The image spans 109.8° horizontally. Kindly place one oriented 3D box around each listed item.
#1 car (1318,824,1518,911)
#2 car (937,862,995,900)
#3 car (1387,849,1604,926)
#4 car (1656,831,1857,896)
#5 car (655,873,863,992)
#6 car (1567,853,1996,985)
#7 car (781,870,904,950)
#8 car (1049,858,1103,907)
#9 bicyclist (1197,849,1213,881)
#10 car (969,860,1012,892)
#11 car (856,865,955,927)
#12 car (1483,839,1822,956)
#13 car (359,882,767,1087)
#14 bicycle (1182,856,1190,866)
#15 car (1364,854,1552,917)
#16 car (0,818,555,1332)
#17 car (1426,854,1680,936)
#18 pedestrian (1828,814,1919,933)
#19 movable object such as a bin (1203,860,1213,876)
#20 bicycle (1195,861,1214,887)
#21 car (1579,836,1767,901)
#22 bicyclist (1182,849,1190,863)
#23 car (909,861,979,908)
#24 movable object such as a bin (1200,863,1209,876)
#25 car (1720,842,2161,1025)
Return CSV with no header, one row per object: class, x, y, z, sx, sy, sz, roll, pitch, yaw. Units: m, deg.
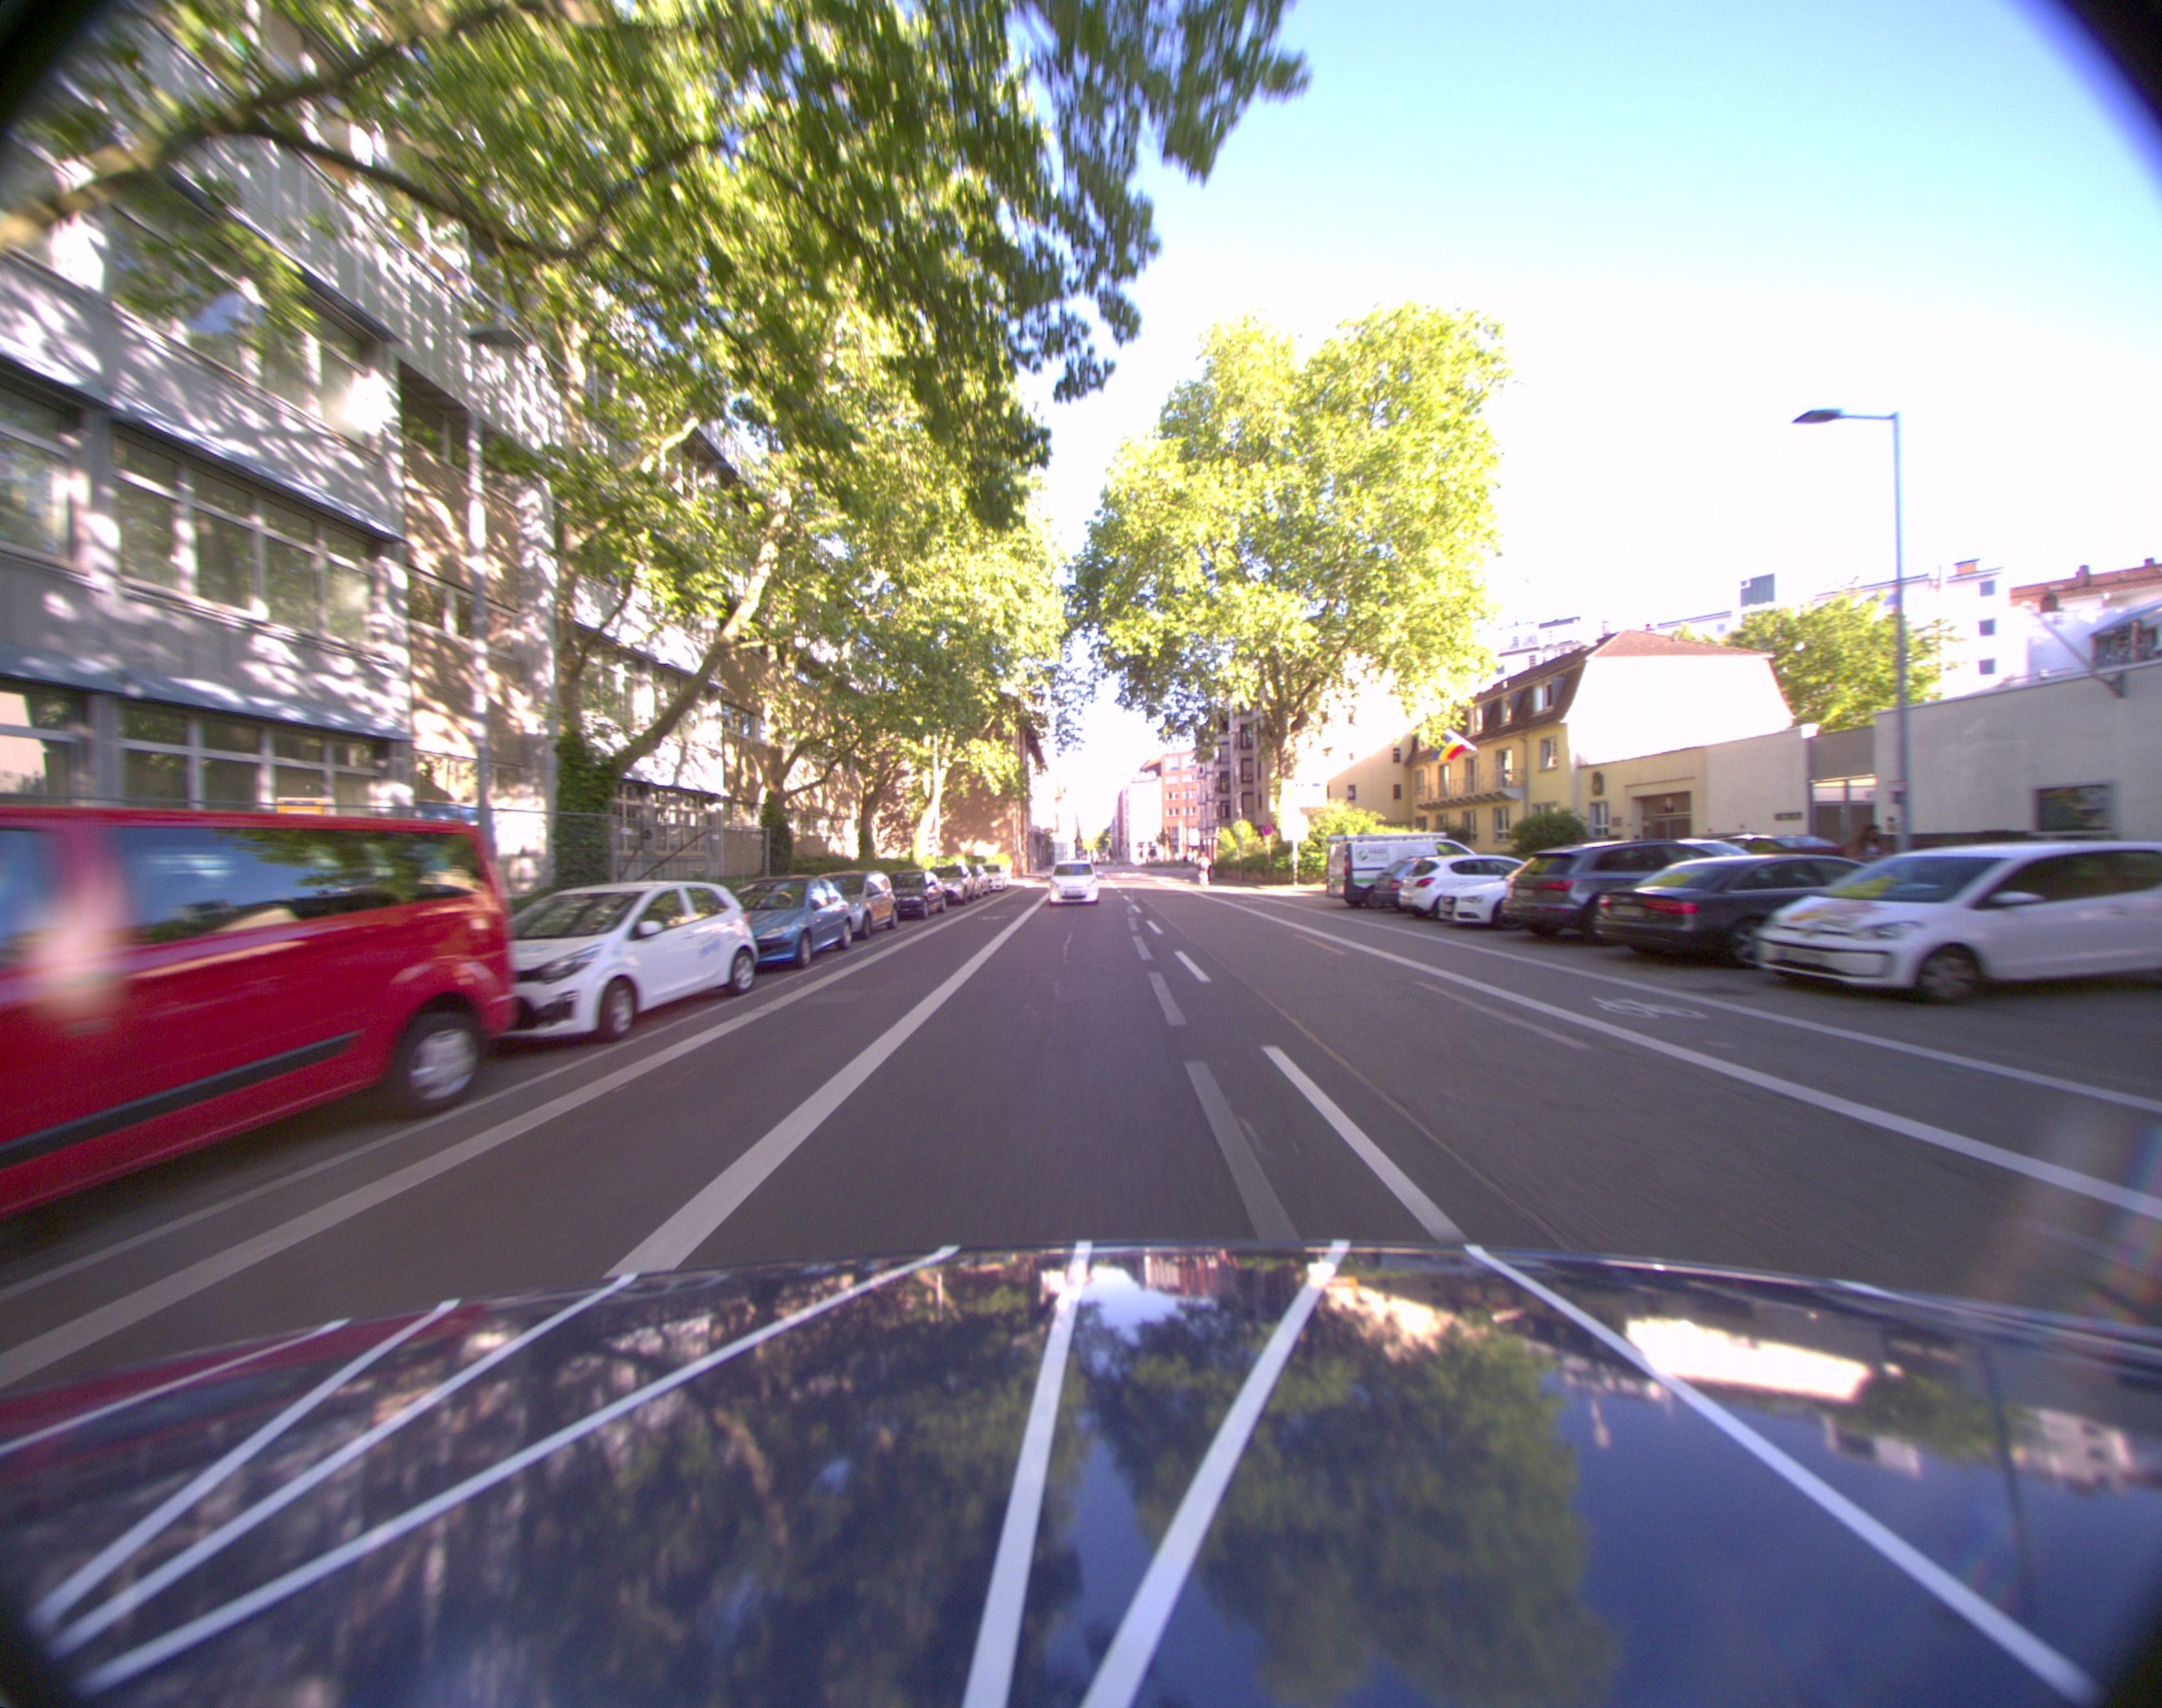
car,9.756,0.374,22.329,4.856,2.204,2.140,-3,1,0
car,-5.031,1.161,33.797,1.860,1.428,4.602,-2,0,0
car,9.543,0.745,17.737,3.997,1.550,1.853,-2,0,0
car,17.851,0.229,20.375,1.794,1.455,4.000,-3,0,0
car,-5.171,1.169,12.841,1.860,1.502,3.928,-4,0,-2
car,9.185,0.797,10.258,3.997,1.447,1.916,-2,0,0
car,-5.276,1.175,17.243,1.617,1.466,3.492,-3,0,0
car,-0.179,0.933,26.258,1.683,1.490,3.684,-1,1,-1
bicyclist,6.073,0.519,37.208,0.608,1.536,0.934,1,0,0
car,-4.706,1.109,40.007,1.860,1.428,4.968,-2,0,-3
car,-5.104,1.157,22.775,1.860,1.514,4.599,-3,0,0
car,9.502,0.679,12.927,4.204,1.674,2.028,-2,1,0
car,-5.083,1.156,8.188,1.641,1.477,3.760,-3,0,2
bicycle,12.451,0.832,90.211,0.730,1.193,2.179,0,1,2
car,9.799,0.798,19.977,3.997,1.424,1.853,-2,0,0
car,-5.262,0.900,3.489,2.083,1.982,5.170,-3,0,-2
car,9.498,0.792,15.526,3.997,1.424,1.853,-2,0,0
pedestrian,12.373,0.297,11.882,0.633,1.778,0.722,-1,0,0
movable object such as a bin,8.736,0.959,52.152,0.595,1.065,0.644,-1,1,1
bicycle,6.071,0.977,37.536,0.608,1.232,2.049,1,0,0
car,15.373,0.349,20.050,1.794,1.455,4.000,-3,0,0
bicyclist,12.451,0.264,90.229,0.730,1.632,1.168,-1,1,2
car,-5.139,1.097,29.110,1.860,1.514,4.296,-3,0,0
movable object such as a bin,8.797,1.085,54.185,0.542,0.896,0.604,-1,1,1
car,9.324,0.727,7.938,3.694,1.504,1.830,-3,1,0
